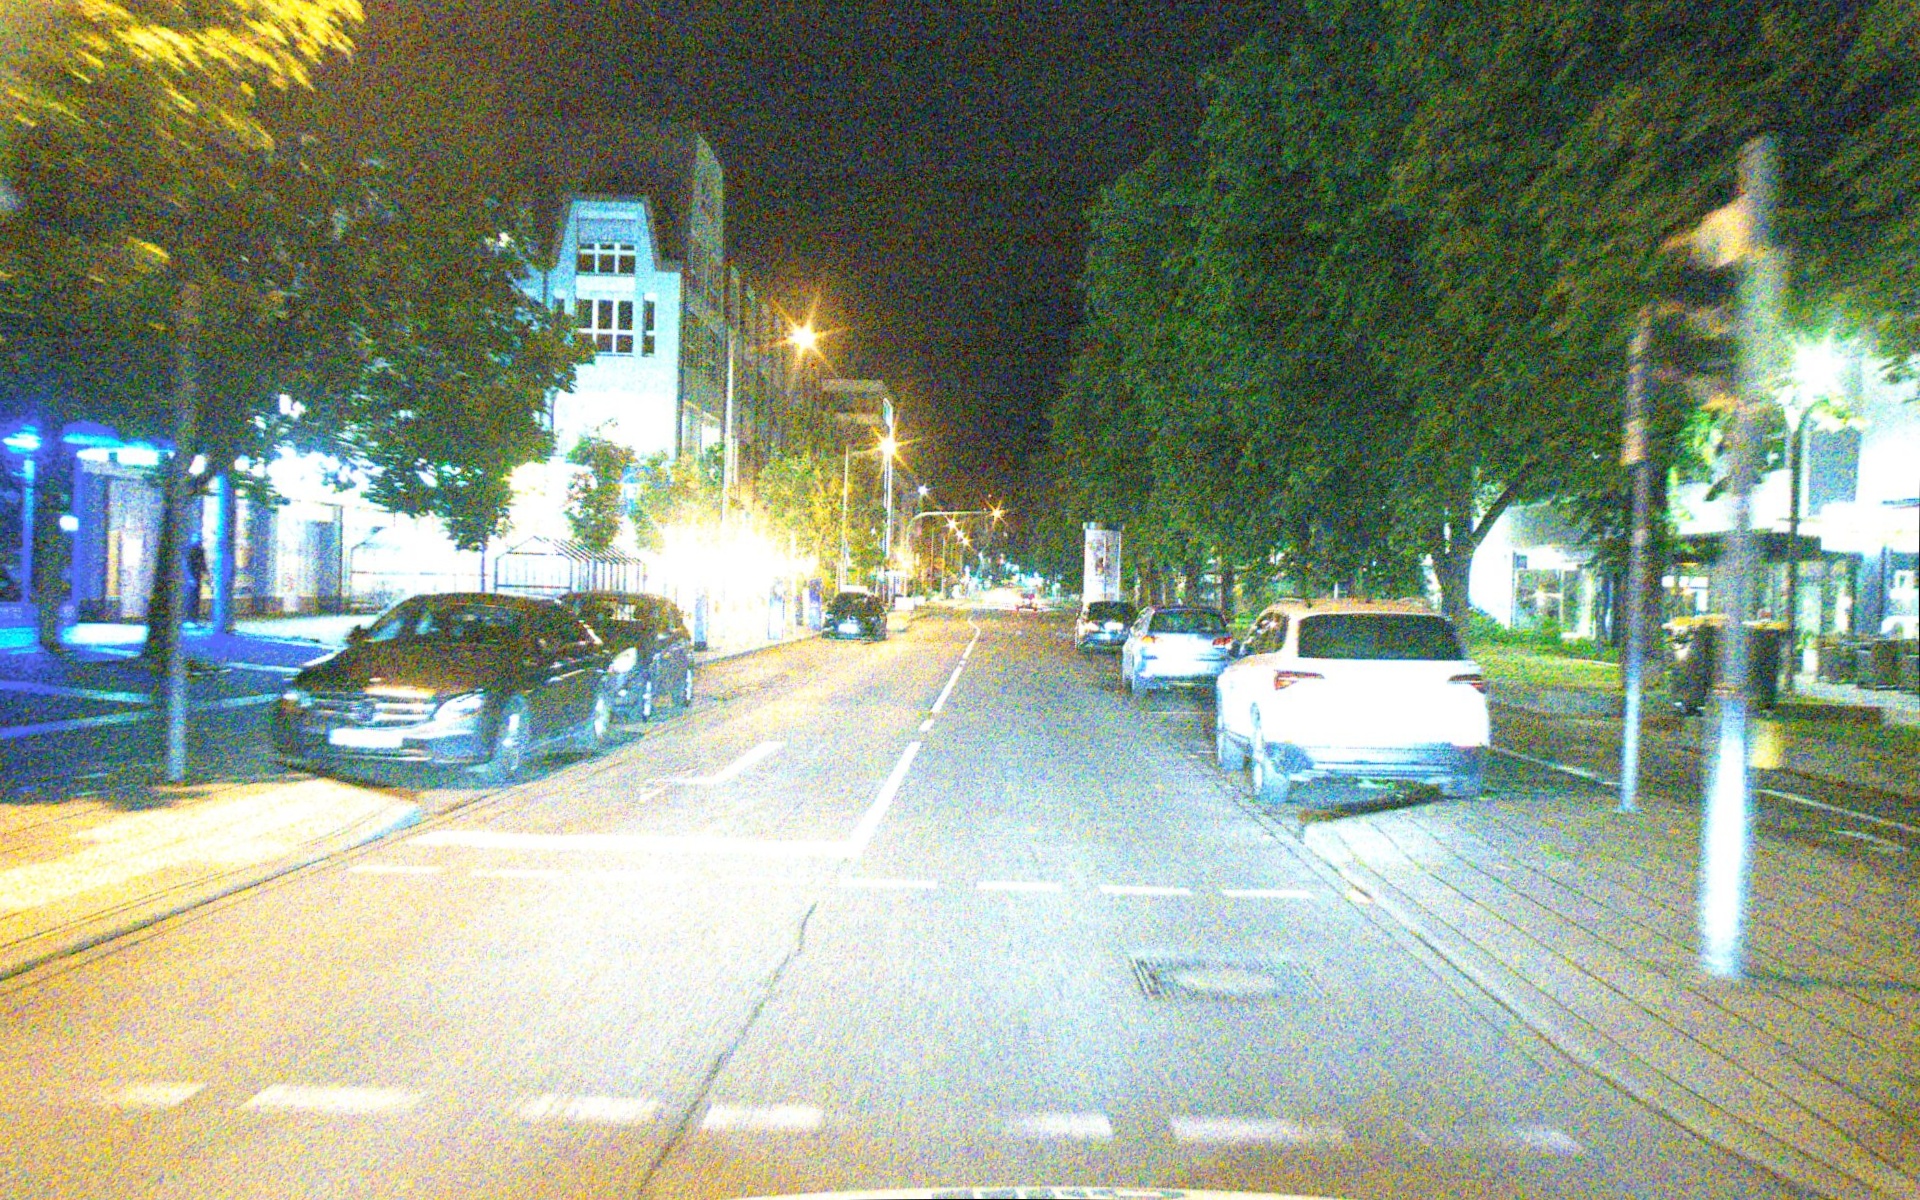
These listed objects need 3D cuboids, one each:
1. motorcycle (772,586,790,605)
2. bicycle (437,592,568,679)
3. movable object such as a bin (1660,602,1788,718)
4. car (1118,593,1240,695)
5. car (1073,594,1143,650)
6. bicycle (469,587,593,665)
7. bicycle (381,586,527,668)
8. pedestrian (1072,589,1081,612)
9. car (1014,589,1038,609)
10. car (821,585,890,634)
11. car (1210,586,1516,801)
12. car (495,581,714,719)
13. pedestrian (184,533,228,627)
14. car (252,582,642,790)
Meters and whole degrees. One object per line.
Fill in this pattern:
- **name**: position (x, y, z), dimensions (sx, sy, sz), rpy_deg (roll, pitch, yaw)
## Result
- **motorcycle**: position (-9.659, -0.241, 89.367), dimensions (0.468, 1.038, 1.676), rpy_deg (2, 1, 12)
- **bicycle**: position (-6.953, 0.533, 25.152), dimensions (1.812, 1.275, 0.533), rpy_deg (1, 0, 1)
- **movable object such as a bin**: position (9.782, 0.752, 21.216), dimensions (1.137, 1.395, 0.993), rpy_deg (2, 0, 0)
- **car**: position (3.617, 0.683, 27.922), dimensions (1.654, 1.563, 4.017), rpy_deg (0, 0, 2)
- **car**: position (4.114, 0.578, 46.598), dimensions (1.727, 1.439, 4.809), rpy_deg (1, 0, 2)
- **bicycle**: position (-6.804, 0.411, 26.261), dimensions (1.812, 1.186, 0.533), rpy_deg (1, 0, 1)
- **bicycle**: position (-7.041, 0.373, 23.040), dimensions (1.813, 1.017, 0.533), rpy_deg (3, 0, 1)
- **pedestrian**: position (9.537, 0.011, 135.318), dimensions (0.688, 1.850, 1.082), rpy_deg (1, 0, 2)
- **car**: position (5.727, -0.092, 143.996), dimensions (1.952, 1.672, 4.001), rpy_deg (1, 0, 1)
- **car**: position (-3.282, 0.270, 52.783), dimensions (1.705, 1.438, 4.497), rpy_deg (2, 1, 2)
- **car**: position (3.264, 0.672, 14.201), dimensions (1.733, 1.563, 4.217), rpy_deg (0, 0, 2)
- **car**: position (-4.313, 0.551, 20.661), dimensions (1.686, 1.453, 3.977), rpy_deg (3, 0, 2)
- **pedestrian**: position (-13.649, -0.364, 29.951), dimensions (0.468, 1.665, 0.632), rpy_deg (1, 0, 2)
- **car**: position (-4.333, 0.627, 14.891), dimensions (1.769, 1.449, 4.922), rpy_deg (3, 0, 2)
